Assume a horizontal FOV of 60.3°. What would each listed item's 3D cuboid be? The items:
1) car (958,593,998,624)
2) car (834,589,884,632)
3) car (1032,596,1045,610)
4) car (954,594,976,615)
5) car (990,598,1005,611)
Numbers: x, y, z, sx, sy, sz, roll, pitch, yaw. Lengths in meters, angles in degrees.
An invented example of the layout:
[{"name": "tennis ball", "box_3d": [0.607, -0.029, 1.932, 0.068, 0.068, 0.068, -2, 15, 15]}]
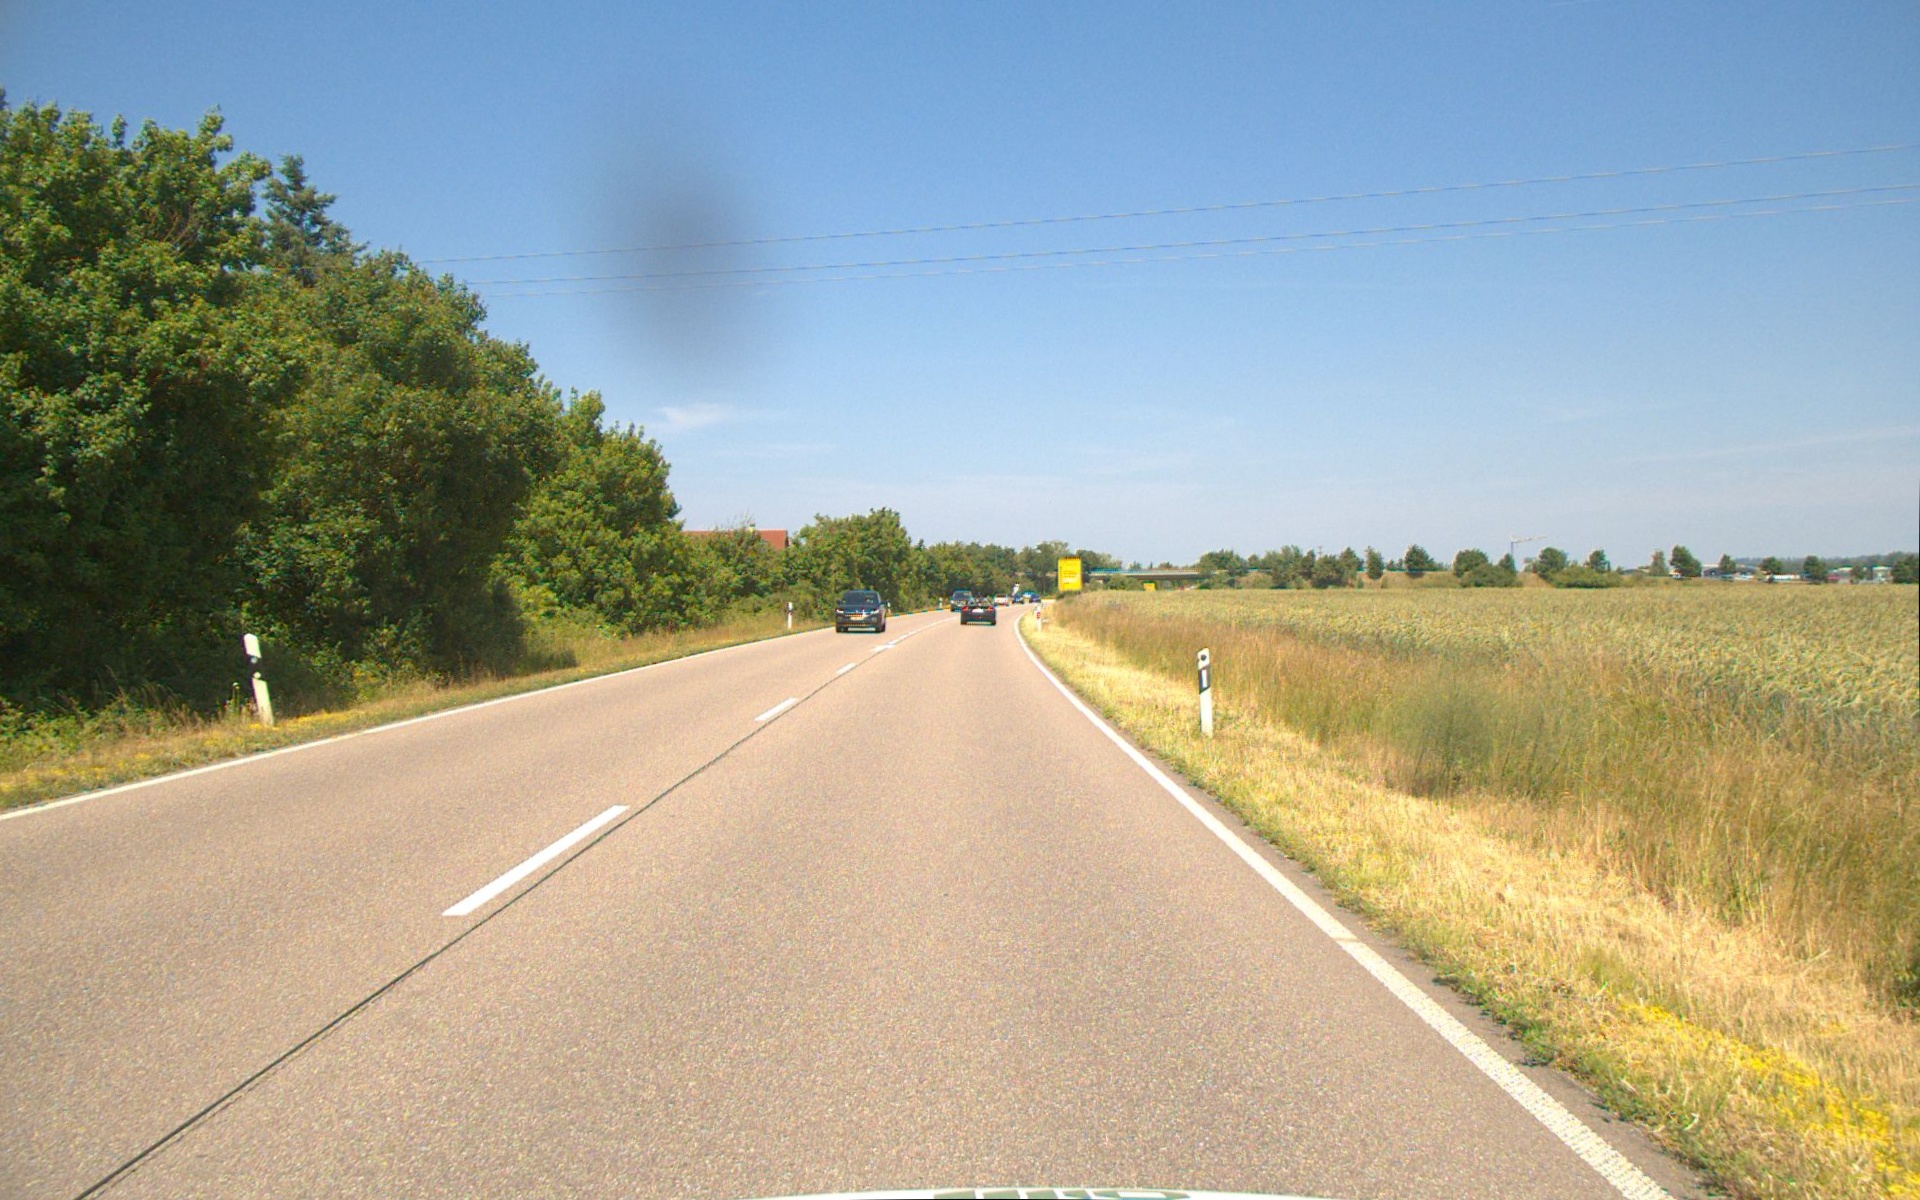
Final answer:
[{"name": "car", "box_3d": [0.922, 0.427, 82.044, 1.776, 1.466, 4.001, 1, 0, 3]}, {"name": "car", "box_3d": [-3.845, 0.385, 63.480, 1.664, 1.594, 3.671, 0, 0, 0]}, {"name": "car", "box_3d": [12.227, 0.438, 258.530, 1.952, 2.049, 4.002, 1, 0, 4]}, {"name": "car", "box_3d": [0.451, 0.386, 140.808, 1.781, 1.731, 5.002, 0, 0, 2]}, {"name": "car", "box_3d": [4.536, 0.536, 198.033, 1.671, 1.405, 3.821, 1, 0, 2]}]
